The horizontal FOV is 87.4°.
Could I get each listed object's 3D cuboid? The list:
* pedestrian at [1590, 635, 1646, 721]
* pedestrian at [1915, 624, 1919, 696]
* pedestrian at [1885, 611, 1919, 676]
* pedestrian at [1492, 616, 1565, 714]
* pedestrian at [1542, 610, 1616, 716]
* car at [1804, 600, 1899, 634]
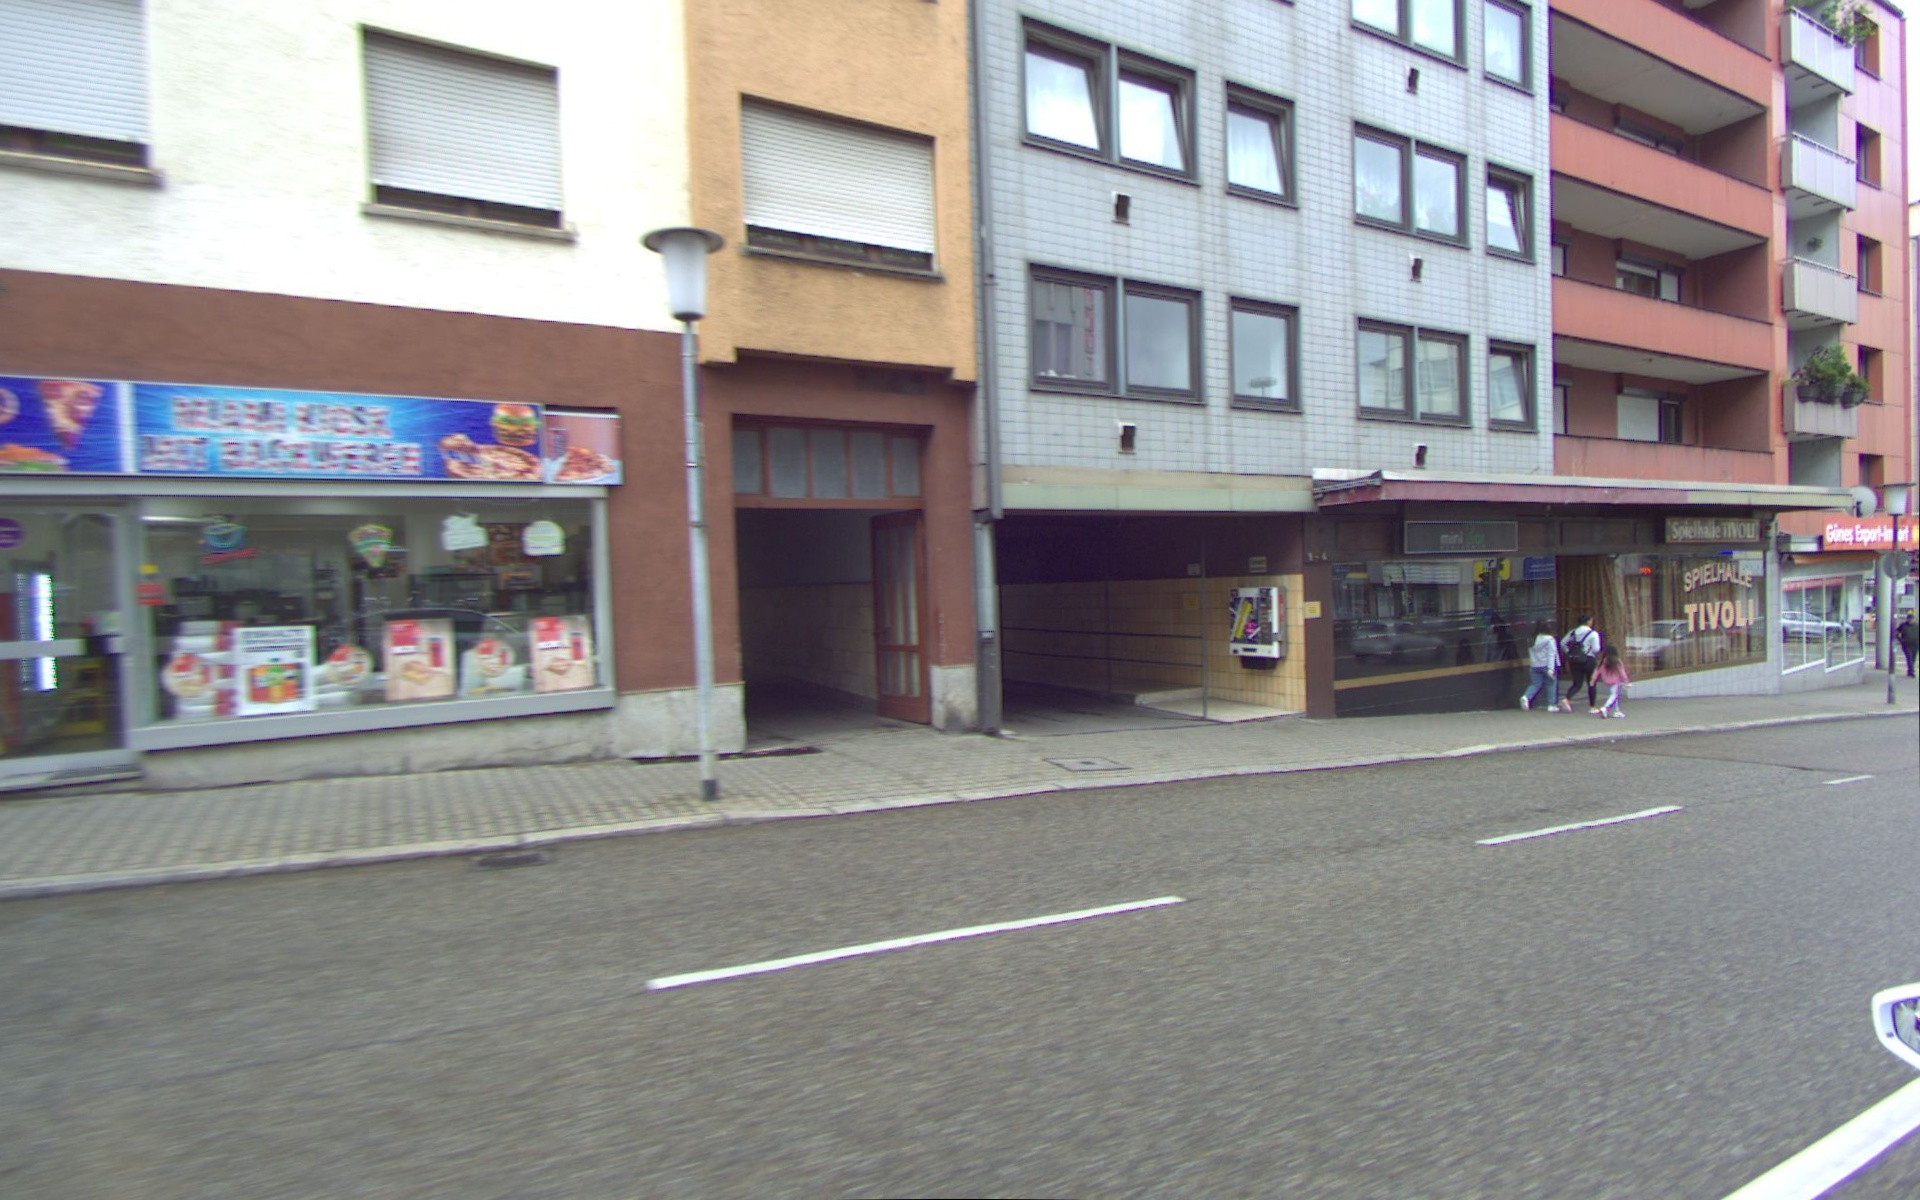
[{"bbox_3d":[10.816,1.268,16.515,0.717,1.341,0.529,1,2,-38],"label":"pedestrian"},{"bbox_3d":[23.402,1.442,24.110,0.617,1.720,0.551,1,0,-33],"label":"pedestrian"},{"bbox_3d":[27.610,1.260,29.324,0.750,1.873,0.842,1,0,33],"label":"pedestrian"},{"bbox_3d":[9.739,1.090,17.210,0.717,1.582,0.821,1,2,-38],"label":"pedestrian"},{"bbox_3d":[10.617,1.056,17.226,0.717,1.712,0.821,1,2,-38],"label":"pedestrian"},{"bbox_3d":[55.768,1.038,62.936,1.963,1.862,4.170,2,2,-6],"label":"car"}]
